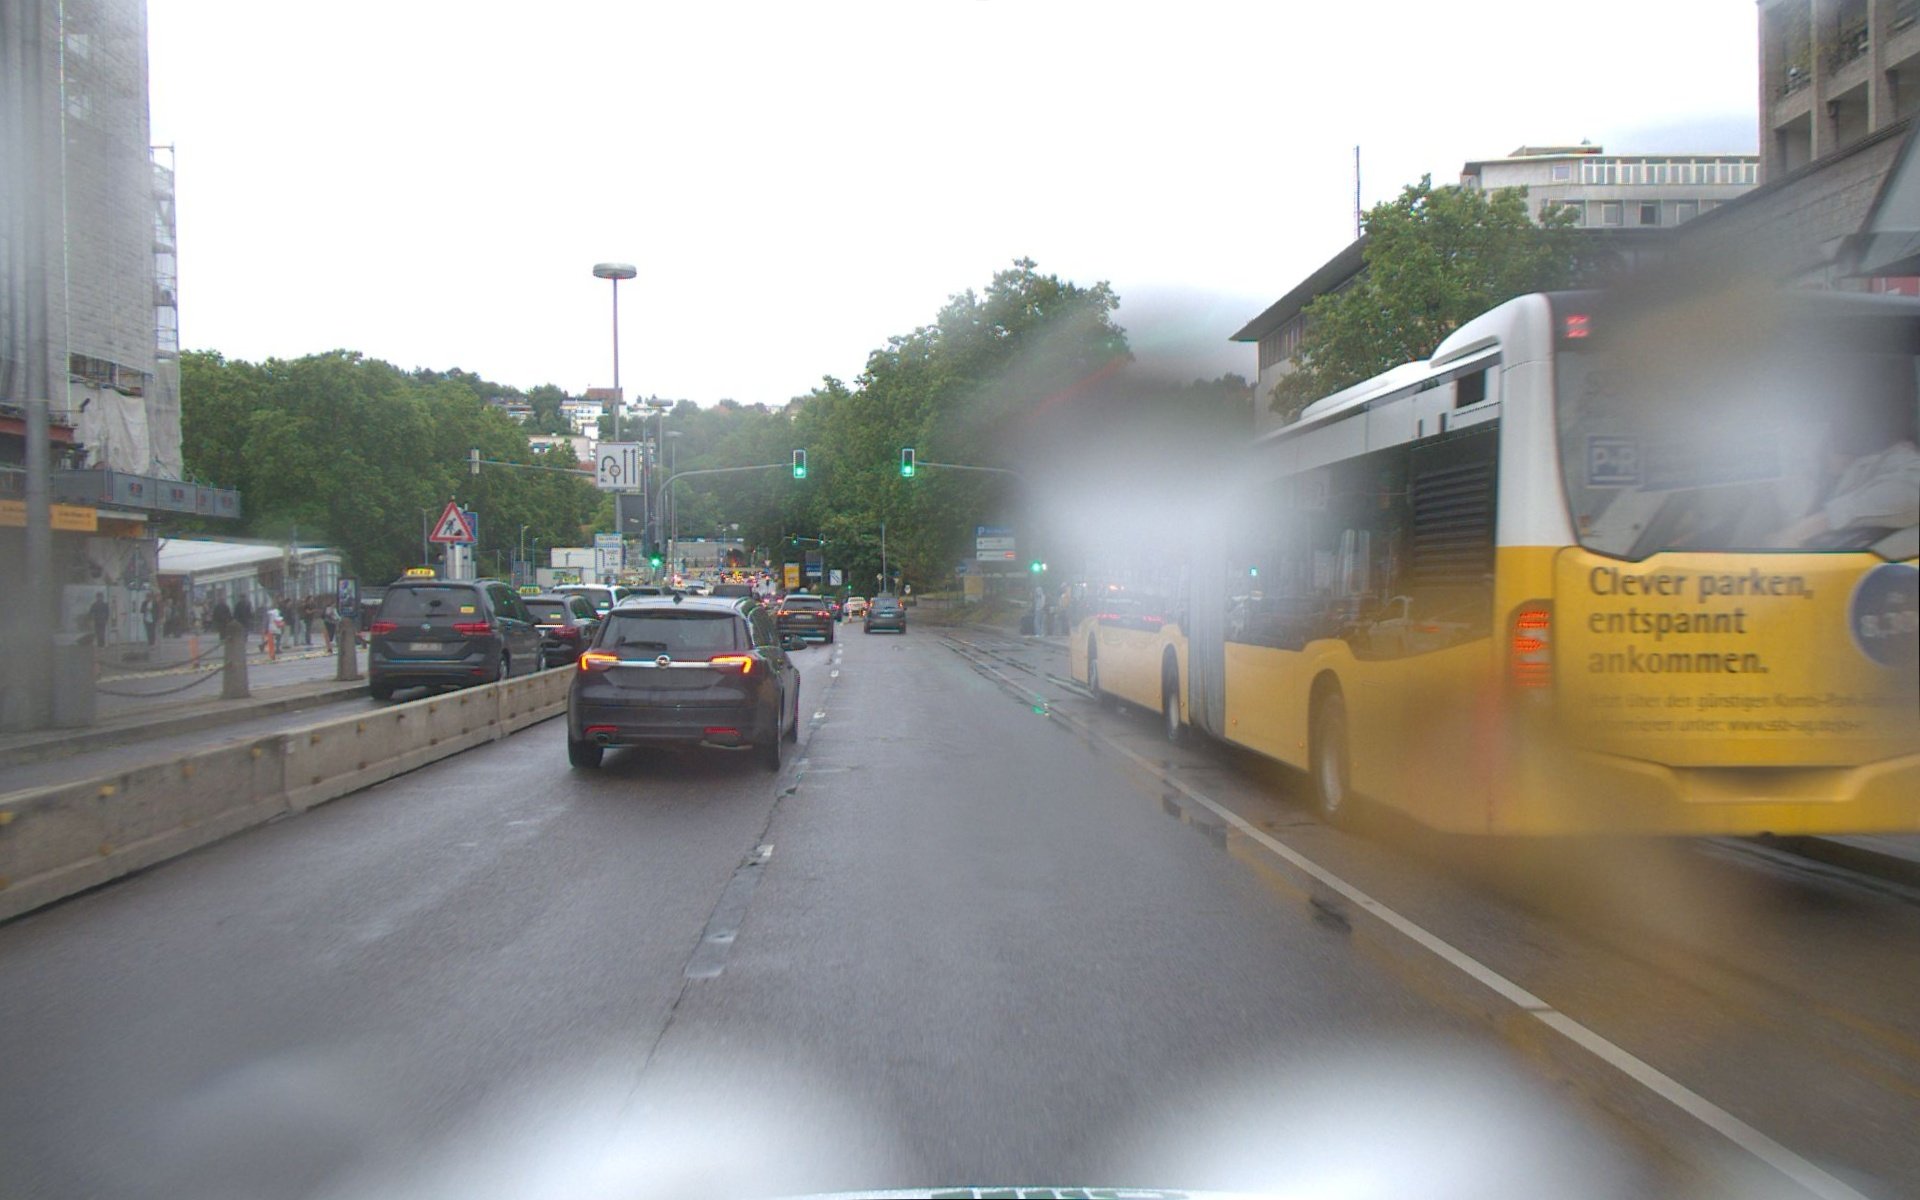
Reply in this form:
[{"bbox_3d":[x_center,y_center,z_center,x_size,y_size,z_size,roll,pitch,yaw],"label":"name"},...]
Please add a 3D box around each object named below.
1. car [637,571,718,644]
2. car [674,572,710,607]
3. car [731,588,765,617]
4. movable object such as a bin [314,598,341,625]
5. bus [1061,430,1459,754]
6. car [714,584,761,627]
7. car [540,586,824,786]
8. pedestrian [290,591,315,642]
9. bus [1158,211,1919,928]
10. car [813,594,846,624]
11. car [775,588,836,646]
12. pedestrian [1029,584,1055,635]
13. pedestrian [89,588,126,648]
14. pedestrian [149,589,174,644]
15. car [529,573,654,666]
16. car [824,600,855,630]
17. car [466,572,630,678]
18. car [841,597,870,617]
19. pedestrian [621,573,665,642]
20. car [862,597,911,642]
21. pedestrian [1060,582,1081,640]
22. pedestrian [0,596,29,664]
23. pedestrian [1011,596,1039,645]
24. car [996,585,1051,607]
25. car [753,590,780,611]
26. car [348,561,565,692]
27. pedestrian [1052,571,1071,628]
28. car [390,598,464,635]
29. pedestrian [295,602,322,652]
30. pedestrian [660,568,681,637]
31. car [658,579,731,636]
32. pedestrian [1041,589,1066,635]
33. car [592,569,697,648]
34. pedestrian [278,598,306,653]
[{"bbox_3d":[-7.913,0.181,46.695,1.679,1.925,4.607,-1,0,-3],"label":"car"},{"bbox_3d":[-15.991,-0.616,98.914,1.956,2.049,5.360,0,0,-8],"label":"car"},{"bbox_3d":[-11.515,0.135,89.969,1.789,1.537,4.484,0,0,-7],"label":"car"},{"bbox_3d":[-23.676,0.444,61.905,0.744,0.987,0.720,-1,0,-5],"label":"movable object such as a bin"},{"bbox_3d":[3.336,-0.062,21.410,3.051,3.261,9.236,0,0,-3],"label":"bus"},{"bbox_3d":[-9.990,0.258,74.507,1.955,1.877,5.055,0,0,-6],"label":"car"},{"bbox_3d":[-2.347,0.654,15.224,1.839,1.534,4.851,0,0,-1],"label":"car"},{"bbox_3d":[-24.336,0.609,61.236,0.684,1.873,0.528,-1,0,-5],"label":"pedestrian"},{"bbox_3d":[3.718,-0.116,12.253,3.078,3.304,9.131,0,0,-2],"label":"bus"},{"bbox_3d":[-7.696,0.519,97.291,1.866,1.747,3.996,0,0,-5],"label":"car"},{"bbox_3d":[-4.812,0.496,51.794,1.794,1.715,4.130,-1,0,-4],"label":"car"},{"bbox_3d":[3.005,0.332,60.636,0.733,1.836,0.706,-1,0,-17],"label":"pedestrian"},{"bbox_3d":[-26.918,0.566,52.214,0.763,1.873,0.771,-1,0,-3],"label":"pedestrian"},{"bbox_3d":[-27.559,0.557,57.084,0.664,1.873,0.717,0,0,-16],"label":"pedestrian"},{"bbox_3d":[-7.756,0.385,35.231,1.954,1.818,4.450,-1,0,-4],"label":"car"},{"bbox_3d":[-6.673,0.812,92.089,1.641,1.609,3.237,0,0,-3],"label":"car"},{"bbox_3d":[-7.385,0.404,30.166,2.009,1.741,5.051,-1,0,-4],"label":"car"},{"bbox_3d":[-8.726,0.565,137.364,1.783,1.602,3.986,1,0,-13],"label":"car"},{"bbox_3d":[-9.574,0.222,49.966,0.819,2.049,1.024,0,0,35],"label":"pedestrian"},{"bbox_3d":[-3.001,0.754,66.677,1.815,1.747,3.996,0,0,-5],"label":"car"},{"bbox_3d":[4.199,0.424,62.787,0.545,2.183,0.665,-1,0,-17],"label":"pedestrian"},{"bbox_3d":[-26.308,0.823,45.913,0.525,1.873,0.771,0,0,-2],"label":"pedestrian"},{"bbox_3d":[2.501,0.784,63.367,0.774,1.871,0.946,-1,0,-17],"label":"pedestrian"},{"bbox_3d":[4.417,-0.262,115.147,3.547,1.532,1.728,0,0,36],"label":"car"},{"bbox_3d":[-17.032,0.065,145.652,1.959,1.859,3.987,1,0,-13],"label":"car"},{"bbox_3d":[-7.120,0.335,23.922,1.954,1.682,4.638,-1,0,-4],"label":"car"},{"bbox_3d":[3.926,-0.033,63.882,0.693,2.183,0.722,-1,0,6],"label":"pedestrian"},{"bbox_3d":[-22.465,0.699,69.872,1.953,1.493,3.998,0,0,-2],"label":"car"},{"bbox_3d":[-24.391,1.007,61.939,0.684,1.873,0.877,0,0,-4],"label":"pedestrian"},{"bbox_3d":[-8.638,0.061,49.428,0.517,2.049,0.890,0,0,-5],"label":"pedestrian"},{"bbox_3d":[-8.431,0.223,52.775,1.750,1.715,4.664,-1,0,-3],"label":"car"},{"bbox_3d":[3.519,0.452,62.171,0.857,1.720,0.758,-1,0,-3],"label":"pedestrian"},{"bbox_3d":[-7.785,0.186,41.238,1.954,1.818,4.844,-1,0,-4],"label":"car"},{"bbox_3d":[-23.019,0.857,57.008,0.626,1.873,0.775,-1,0,-3],"label":"pedestrian"}]
